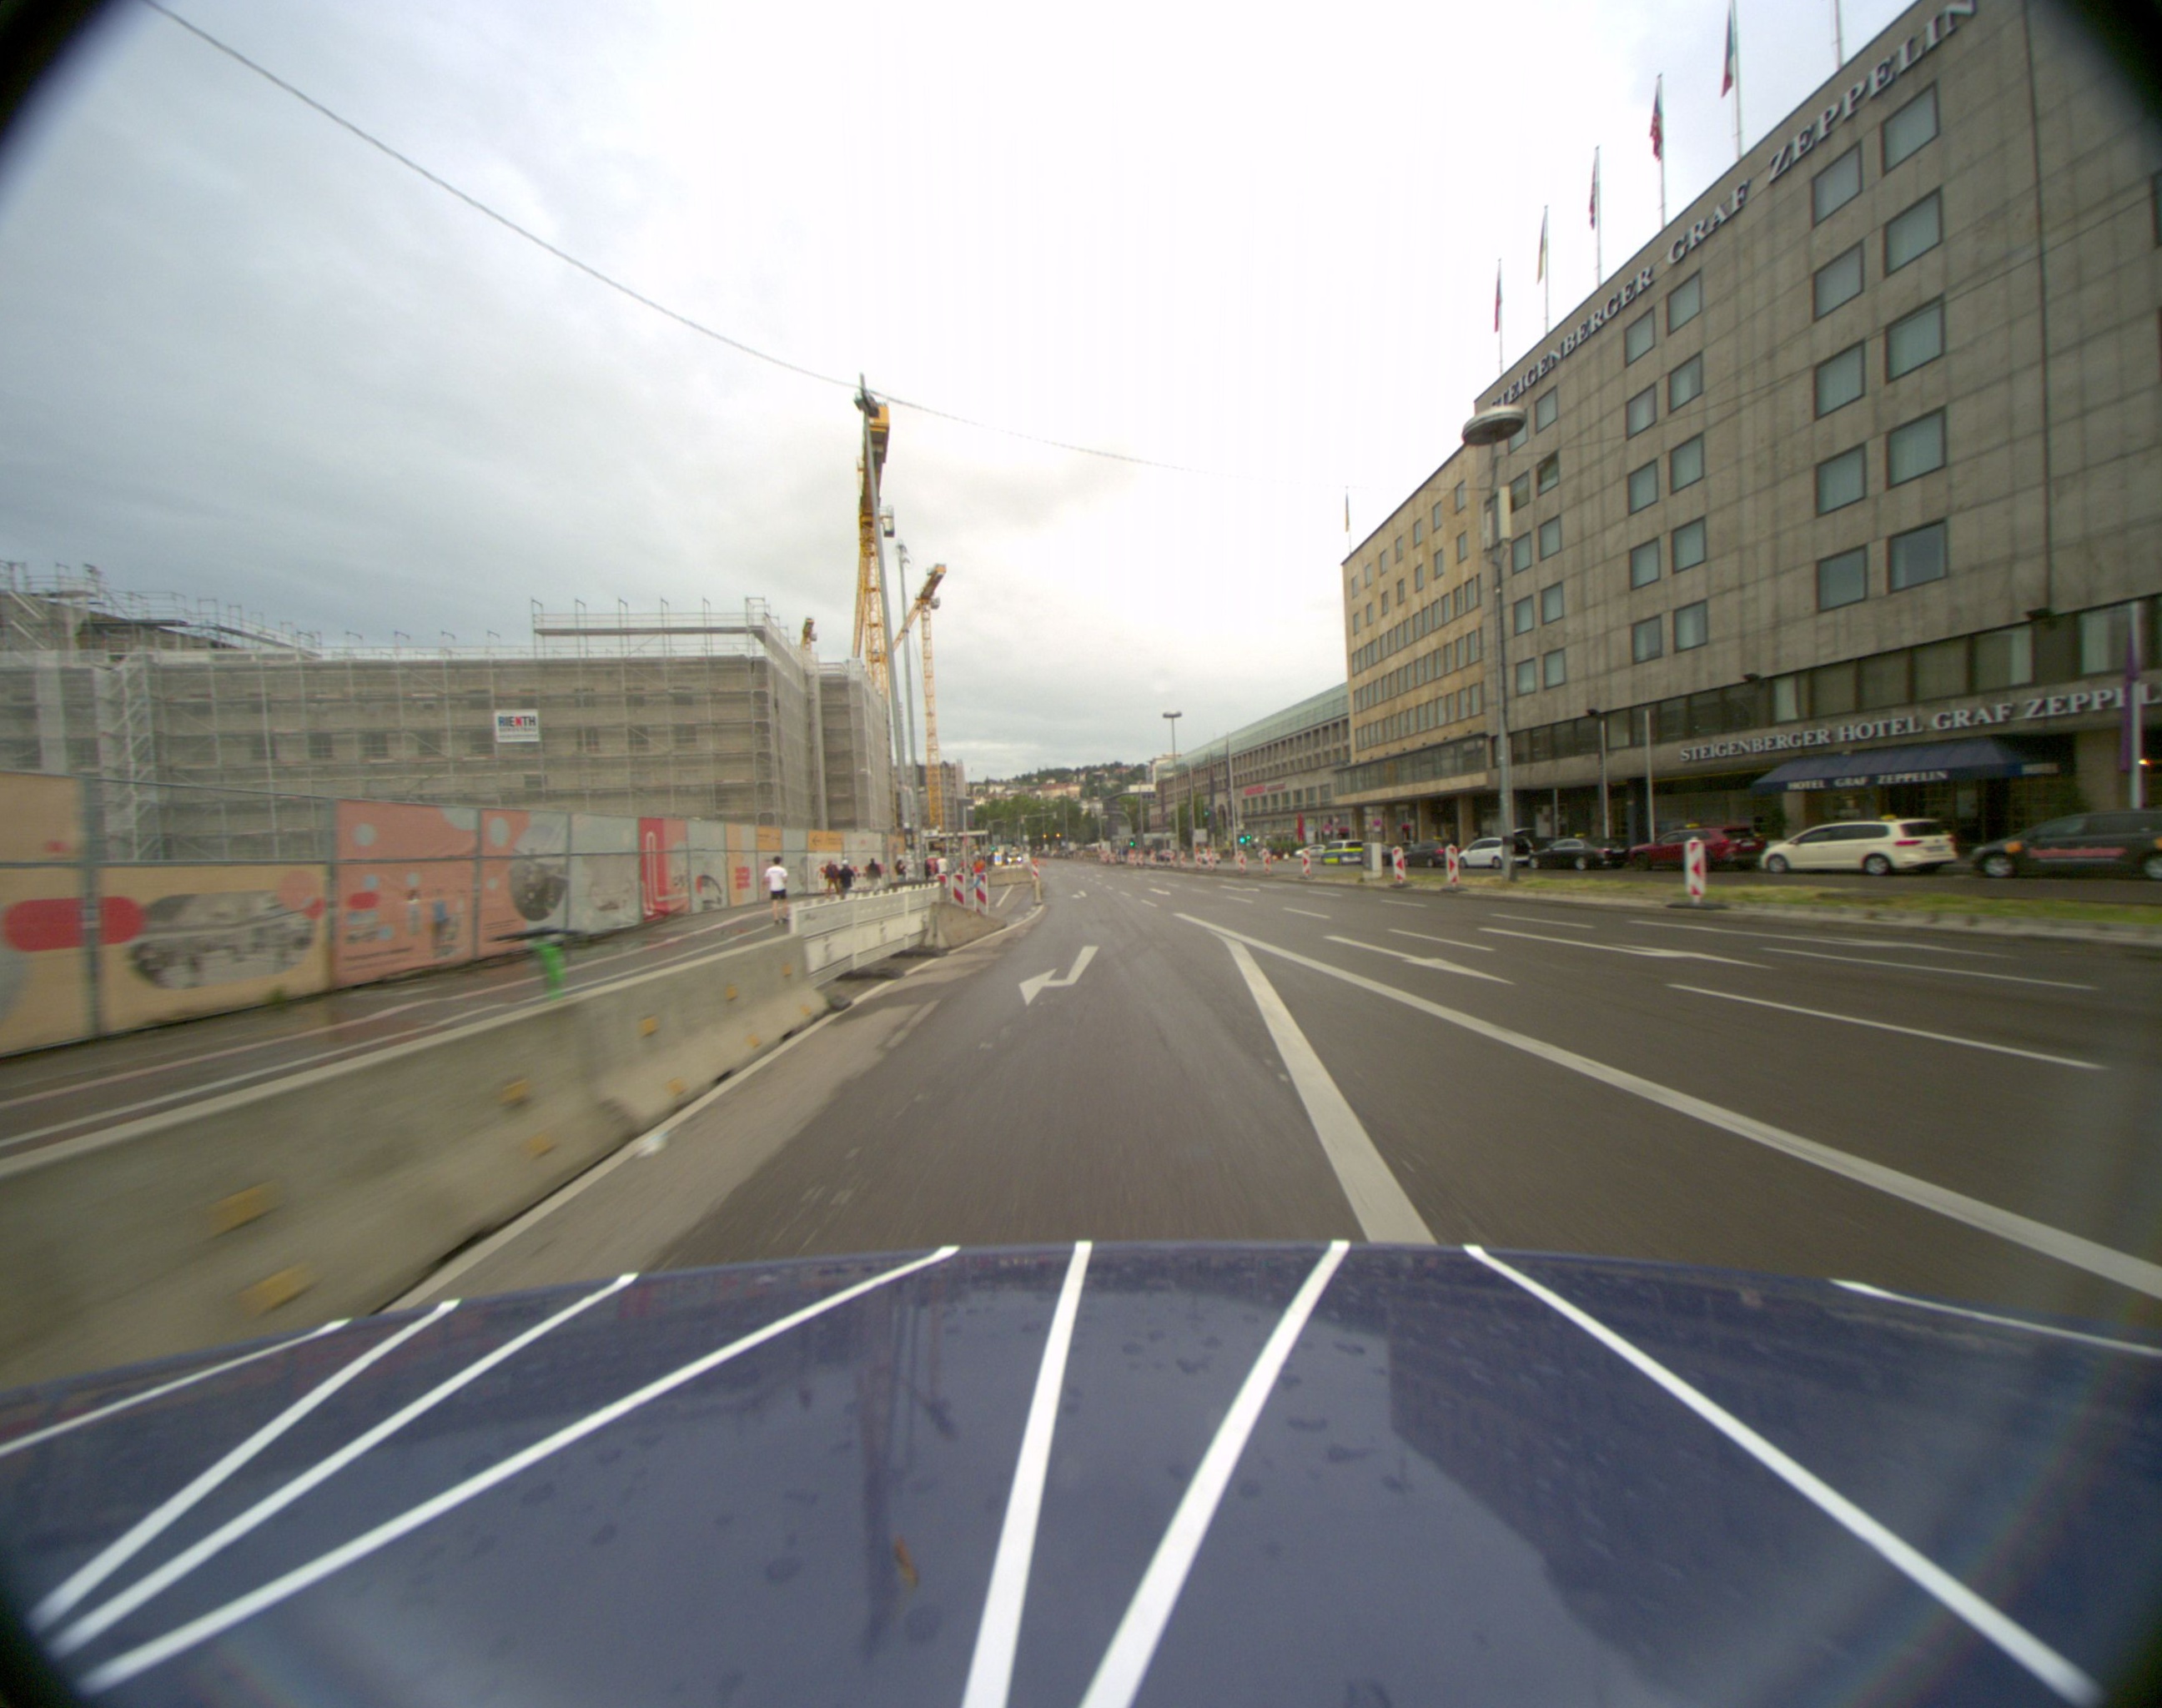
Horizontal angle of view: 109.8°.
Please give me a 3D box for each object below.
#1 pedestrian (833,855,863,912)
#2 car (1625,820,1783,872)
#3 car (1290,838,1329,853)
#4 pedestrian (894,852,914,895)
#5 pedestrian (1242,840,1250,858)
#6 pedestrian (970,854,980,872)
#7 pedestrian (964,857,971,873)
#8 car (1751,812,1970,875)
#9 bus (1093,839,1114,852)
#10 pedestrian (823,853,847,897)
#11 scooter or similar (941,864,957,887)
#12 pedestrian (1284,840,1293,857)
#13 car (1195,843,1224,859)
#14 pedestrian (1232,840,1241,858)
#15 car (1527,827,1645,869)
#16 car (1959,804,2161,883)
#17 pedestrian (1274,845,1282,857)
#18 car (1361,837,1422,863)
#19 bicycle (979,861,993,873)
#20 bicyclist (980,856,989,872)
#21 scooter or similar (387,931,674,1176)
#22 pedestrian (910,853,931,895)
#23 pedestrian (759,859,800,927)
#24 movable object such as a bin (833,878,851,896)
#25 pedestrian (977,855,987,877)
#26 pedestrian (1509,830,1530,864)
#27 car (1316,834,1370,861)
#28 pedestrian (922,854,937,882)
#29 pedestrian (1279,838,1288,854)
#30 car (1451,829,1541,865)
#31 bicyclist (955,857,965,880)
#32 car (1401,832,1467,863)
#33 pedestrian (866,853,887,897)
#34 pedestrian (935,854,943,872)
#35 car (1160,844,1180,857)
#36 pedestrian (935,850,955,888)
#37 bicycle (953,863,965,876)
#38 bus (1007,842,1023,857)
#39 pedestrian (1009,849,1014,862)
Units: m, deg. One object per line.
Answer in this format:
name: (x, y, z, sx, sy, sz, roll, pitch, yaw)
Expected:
pedestrian: (-7.349, 0.913, 23.996, 0.644, 1.730, 0.837, -3, 1, -4)
car: (23.402, -0.304, 28.819, 1.907, 1.758, 4.644, -3, 1, -4)
car: (27.439, -1.065, 91.173, 4.091, 1.630, 1.805, -2, 1, -2)
pedestrian: (-7.951, 0.886, 34.182, 0.685, 1.878, 0.693, -3, 1, -1)
pedestrian: (17.986, -0.514, 82.888, 0.591, 1.914, 0.751, -3, 1, -7)
pedestrian: (-10.765, 0.920, 77.025, 0.815, 1.746, 0.881, -2, 1, -2)
pedestrian: (-12.537, 1.227, 83.939, 0.743, 1.717, 0.714, 3, 1, -8)
car: (23.828, -0.322, 23.530, 1.821, 1.688, 4.575, -3, 1, -6)
bus: (5.309, -1.948, 180.884, 2.911, 2.923, 9.814, -2, 1, -9)
pedestrian: (-10.830, 0.912, 33.477, 0.769, 1.884, 0.653, -3, 1, -2)
scooter or similar: (-7.279, 1.193, 41.875, 0.666, 1.191, 1.044, -3, 1, -1)
pedestrian: (20.829, -0.561, 76.427, 0.564, 1.659, 0.752, -2, 1, -8)
car: (13.911, -0.352, 82.544, 1.829, 1.659, 4.497, -3, 1, -7)
pedestrian: (17.334, -0.526, 84.443, 0.705, 2.002, 0.807, -2, 1, -6)
car: (22.675, -0.255, 34.388, 1.908, 1.650, 4.614, -3, 0, -6)
car: (24.488, -0.283, 18.081, 1.821, 1.718, 4.512, -3, 1, -4)
pedestrian: (20.231, -0.315, 78.108, 0.564, 1.284, 0.752, -2, 1, -8)
car: (20.908, -0.261, 51.405, 1.760, 1.612, 4.561, -2, 1, -7)
bicycle: (-9.991, 1.360, 79.985, 0.755, 1.127, 1.993, 0, 1, 13)
bicyclist: (-10.104, 1.033, 79.600, 0.696, 1.695, 0.434, -2, 1, 12)
scooter or similar: (-3.565, 1.223, 5.123, 0.676, 1.207, 1.571, -3, 1, 2)
pedestrian: (-7.220, 0.891, 34.222, 0.685, 1.878, 0.693, -3, 1, -1)
pedestrian: (-8.040, 1.028, 20.295, 0.685, 1.730, 0.907, -3, 1, -4)
movable object such as a bin: (-10.632, 1.478, 33.834, 0.598, 0.730, 0.777, -3, 1, -5)
pedestrian: (-9.568, 1.163, 73.492, 0.788, 2.000, 0.865, -2, 1, 3)
pedestrian: (23.278, -0.361, 40.335, 0.623, 1.771, 0.657, -4, 2, -6)
car: (20.230, -0.490, 58.904, 1.906, 1.917, 5.072, -2, 0, -7)
pedestrian: (-10.493, 0.975, 52.667, 0.851, 1.884, 0.662, -3, 1, -2)
pedestrian: (20.761, -0.801, 77.920, 0.666, 1.583, 0.680, -3, 1, -17)
car: (21.962, -0.369, 40.423, 1.760, 1.748, 4.707, -2, 1, -7)
bicyclist: (-11.152, 1.329, 69.956, 0.728, 2.002, 0.599, -3, 1, -2)
car: (21.241, -0.369, 45.916, 1.759, 1.671, 4.227, -2, 0, -4)
pedestrian: (-8.850, 0.891, 32.921, 0.685, 1.878, 0.693, -3, 1, -5)
pedestrian: (-16.267, 0.999, 86.919, 0.640, 2.002, 0.628, -2, 1, 18)
car: (12.057, -0.489, 103.313, 1.779, 1.659, 4.497, -2, 1, -5)
pedestrian: (-7.289, 0.791, 40.839, 0.805, 2.005, 0.972, -3, 1, -1)
bicycle: (-11.278, 1.400, 70.094, 0.768, 1.105, 1.980, -3, 1, -2)
bus: (-14.498, -0.980, 166.164, 3.001, 3.120, 7.758, -3, 1, -9)
pedestrian: (-11.013, 0.171, 120.460, 0.735, 2.002, 0.645, -2, 1, -12)
